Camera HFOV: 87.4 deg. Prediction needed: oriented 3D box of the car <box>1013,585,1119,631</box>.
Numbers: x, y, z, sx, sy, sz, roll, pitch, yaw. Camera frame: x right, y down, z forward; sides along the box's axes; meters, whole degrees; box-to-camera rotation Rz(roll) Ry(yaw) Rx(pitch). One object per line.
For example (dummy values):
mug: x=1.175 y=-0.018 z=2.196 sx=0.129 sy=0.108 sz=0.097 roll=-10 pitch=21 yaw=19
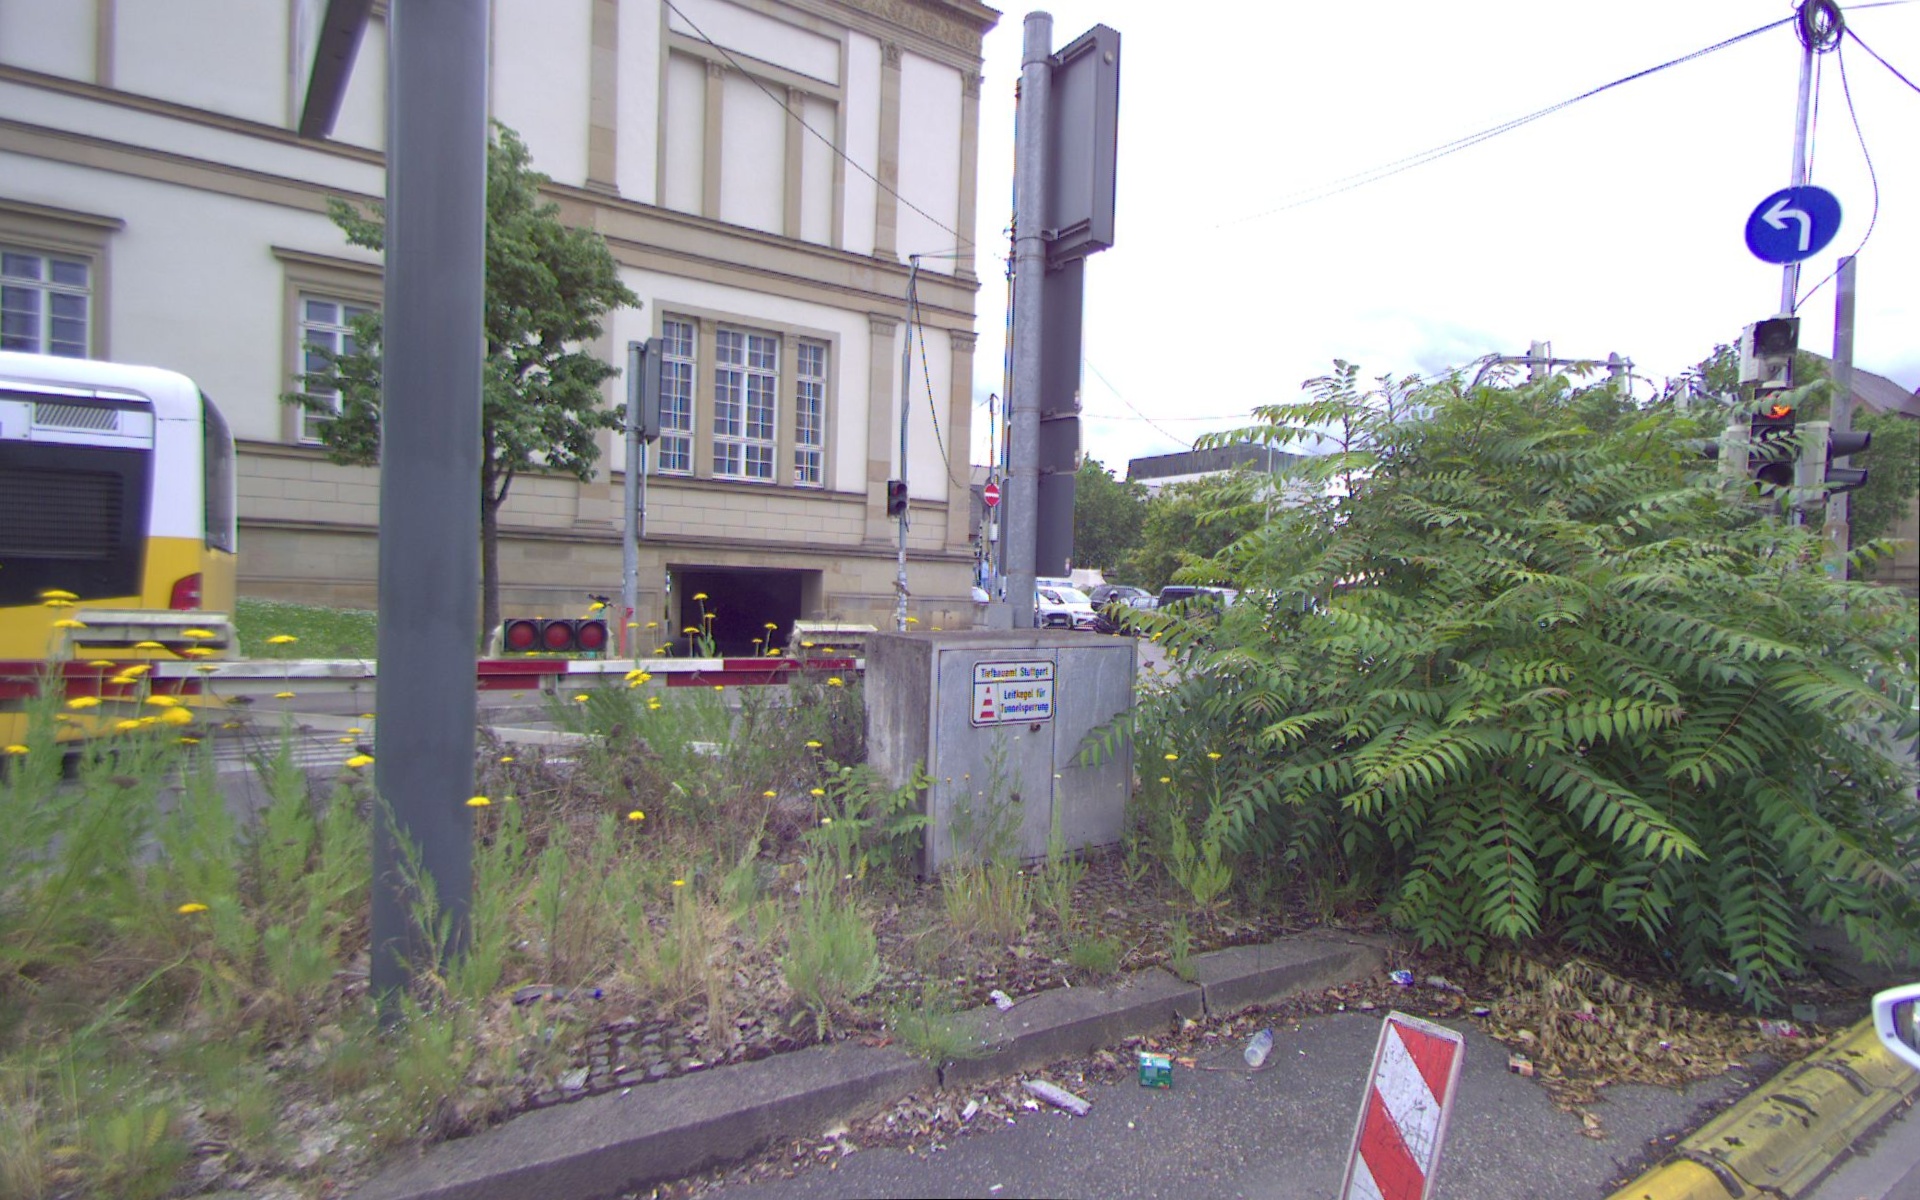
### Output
car: x=4.259 y=0.292 z=40.974 sx=1.979 sy=1.698 sz=4.285 roll=1 pitch=1 yaw=-34

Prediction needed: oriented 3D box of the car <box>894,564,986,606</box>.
car: x=-0.939 y=-0.669 z=43.692 sx=1.979 sy=1.698 sz=4.285 roll=1 pitch=1 yaw=-34

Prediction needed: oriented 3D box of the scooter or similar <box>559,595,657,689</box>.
scooter or similar: x=-4.940 y=0.581 z=14.142 sx=1.132 sy=1.190 sz=0.540 roll=6 pitch=0 yaw=-10

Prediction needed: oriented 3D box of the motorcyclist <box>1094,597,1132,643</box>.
motorcyclist: x=4.992 y=0.643 z=32.775 sx=0.738 sy=1.442 sz=0.959 roll=1 pitch=1 yaw=-35

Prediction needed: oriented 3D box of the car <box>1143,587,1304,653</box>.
car: x=7.574 y=0.523 z=29.246 sx=1.979 sy=1.698 sz=4.285 roll=1 pitch=1 yaw=-34

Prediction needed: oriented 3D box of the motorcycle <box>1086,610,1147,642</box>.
motorcycle: x=5.074 y=0.839 z=32.660 sx=0.749 sy=0.937 sz=2.042 roll=1 pitch=1 yaw=-35

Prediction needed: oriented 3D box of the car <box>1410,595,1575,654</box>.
car: x=17.132 y=0.737 z=32.457 sx=1.986 sy=1.698 sz=4.271 roll=1 pitch=1 yaw=-43

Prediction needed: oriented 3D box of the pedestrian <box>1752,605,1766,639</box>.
pedestrian: x=49.773 y=1.363 z=62.597 sx=0.516 sy=2.040 sz=0.428 roll=2 pitch=1 yaw=17

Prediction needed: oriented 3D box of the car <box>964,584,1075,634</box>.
car: x=2.163 y=0.311 z=37.601 sx=1.979 sy=1.698 sz=4.285 roll=1 pitch=1 yaw=-34

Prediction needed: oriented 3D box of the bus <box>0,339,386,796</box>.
bus: x=-9.234 y=-0.290 z=6.990 sx=9.019 sy=3.156 sz=2.830 roll=1 pitch=1 yaw=-32
